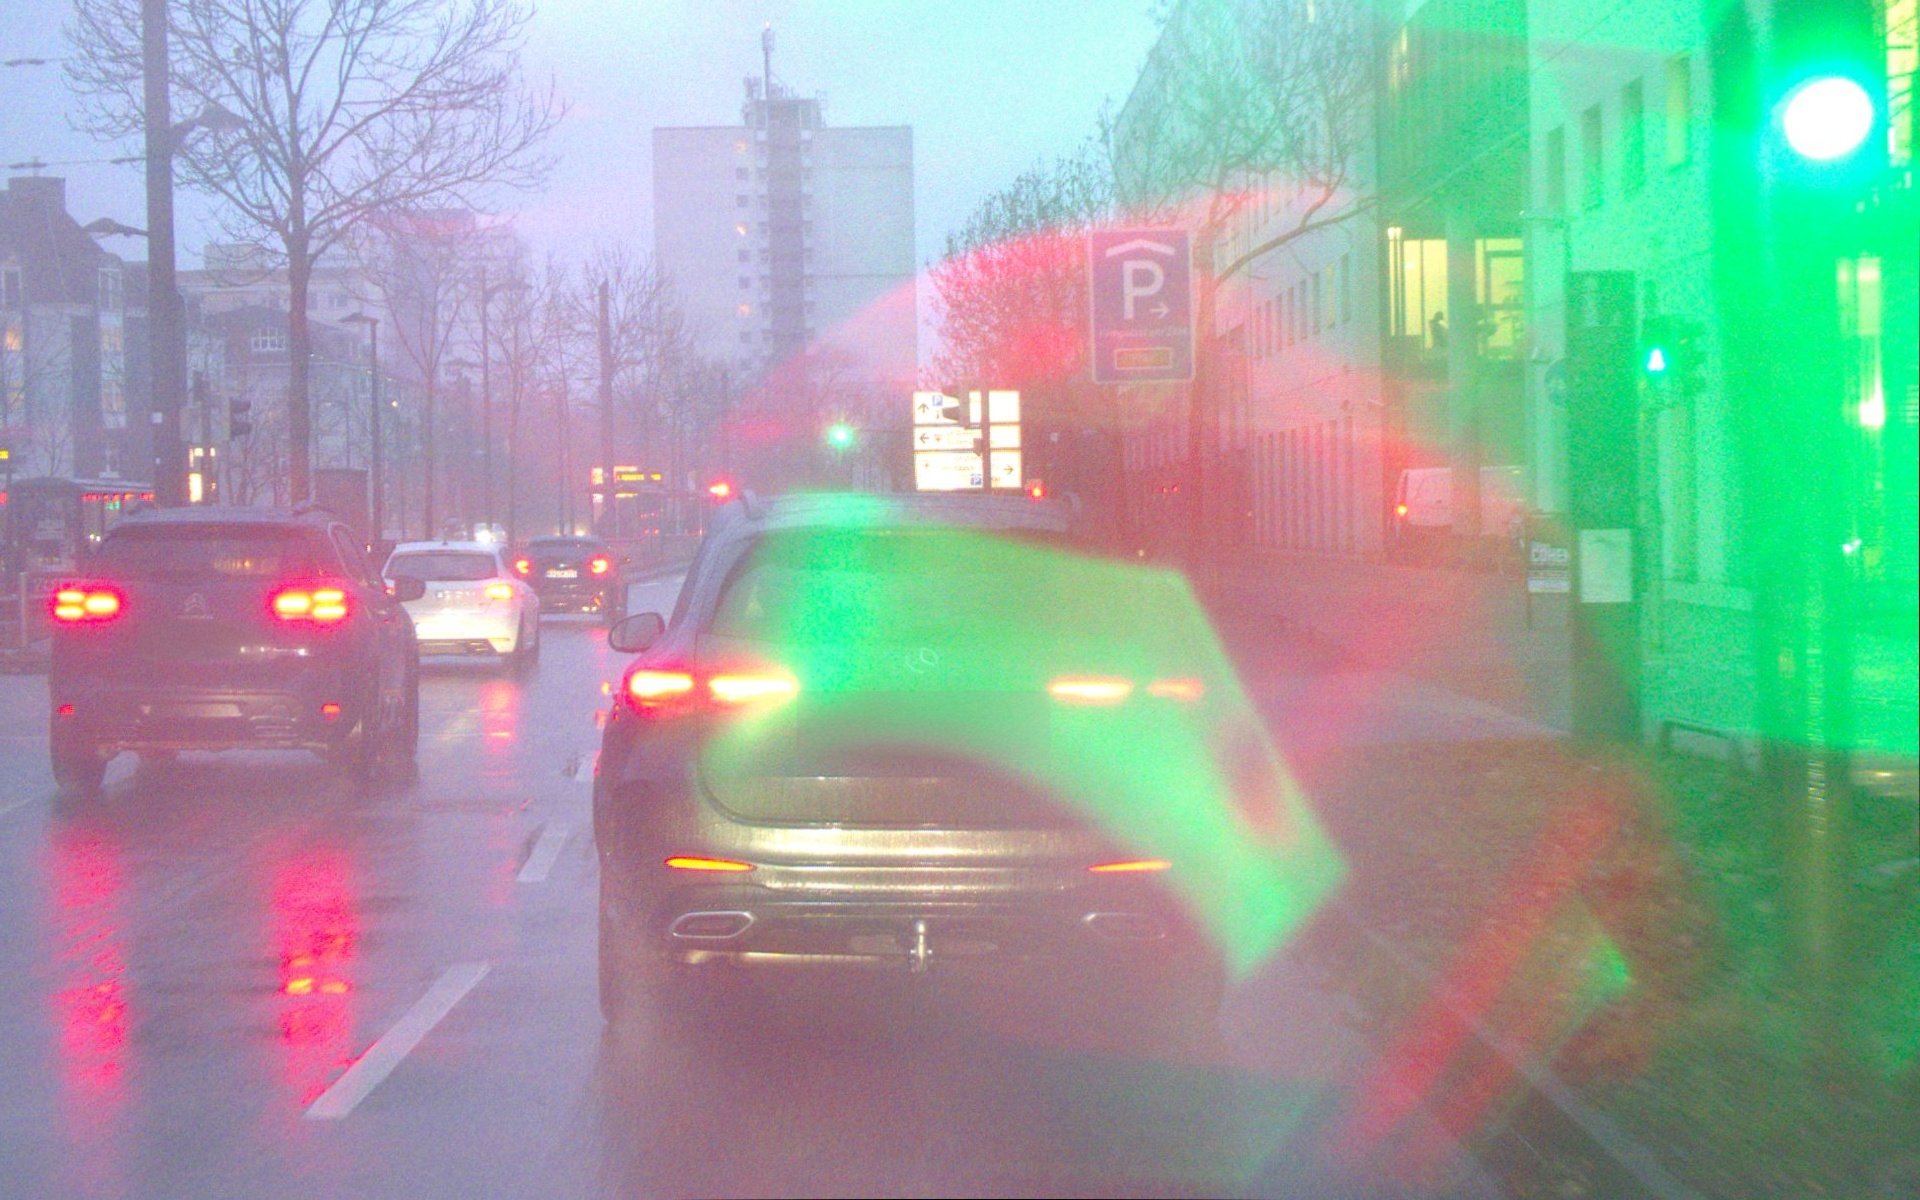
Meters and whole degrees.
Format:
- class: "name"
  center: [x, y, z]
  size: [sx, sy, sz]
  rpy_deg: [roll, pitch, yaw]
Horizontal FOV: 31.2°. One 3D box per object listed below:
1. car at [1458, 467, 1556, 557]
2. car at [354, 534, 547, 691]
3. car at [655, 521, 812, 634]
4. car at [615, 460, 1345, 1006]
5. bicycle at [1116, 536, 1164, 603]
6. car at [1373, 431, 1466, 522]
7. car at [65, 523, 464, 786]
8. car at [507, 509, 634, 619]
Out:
- class: "car"
  center: [11.061, -1.771, 69.623]
  size: [1.627, 1.753, 3.421]
  rpy_deg: [1, 1, 4]
- class: "car"
  center: [-5.650, 0.101, 38.453]
  size: [1.689, 1.629, 3.474]
  rpy_deg: [1, 1, -1]
- class: "car"
  center: [-3.225, -0.354, 49.509]
  size: [1.867, 1.537, 3.610]
  rpy_deg: [1, 1, 2]
- class: "car"
  center: [0.022, 0.337, 11.365]
  size: [1.993, 1.478, 3.700]
  rpy_deg: [1, 1, -1]
- class: "bicycle"
  center: [2.637, -0.454, 50.431]
  size: [0.544, 0.962, 1.346]
  rpy_deg: [1, 1, -3]
- class: "car"
  center: [9.303, -2.487, 69.762]
  size: [1.627, 1.753, 3.421]
  rpy_deg: [1, 1, 4]
- class: "car"
  center: [-4.193, 0.264, 21.298]
  size: [1.817, 1.445, 4.001]
  rpy_deg: [1, 1, -3]
- class: "car"
  center: [-6.471, -0.607, 57.341]
  size: [1.662, 1.753, 3.568]
  rpy_deg: [1, 1, 0]
